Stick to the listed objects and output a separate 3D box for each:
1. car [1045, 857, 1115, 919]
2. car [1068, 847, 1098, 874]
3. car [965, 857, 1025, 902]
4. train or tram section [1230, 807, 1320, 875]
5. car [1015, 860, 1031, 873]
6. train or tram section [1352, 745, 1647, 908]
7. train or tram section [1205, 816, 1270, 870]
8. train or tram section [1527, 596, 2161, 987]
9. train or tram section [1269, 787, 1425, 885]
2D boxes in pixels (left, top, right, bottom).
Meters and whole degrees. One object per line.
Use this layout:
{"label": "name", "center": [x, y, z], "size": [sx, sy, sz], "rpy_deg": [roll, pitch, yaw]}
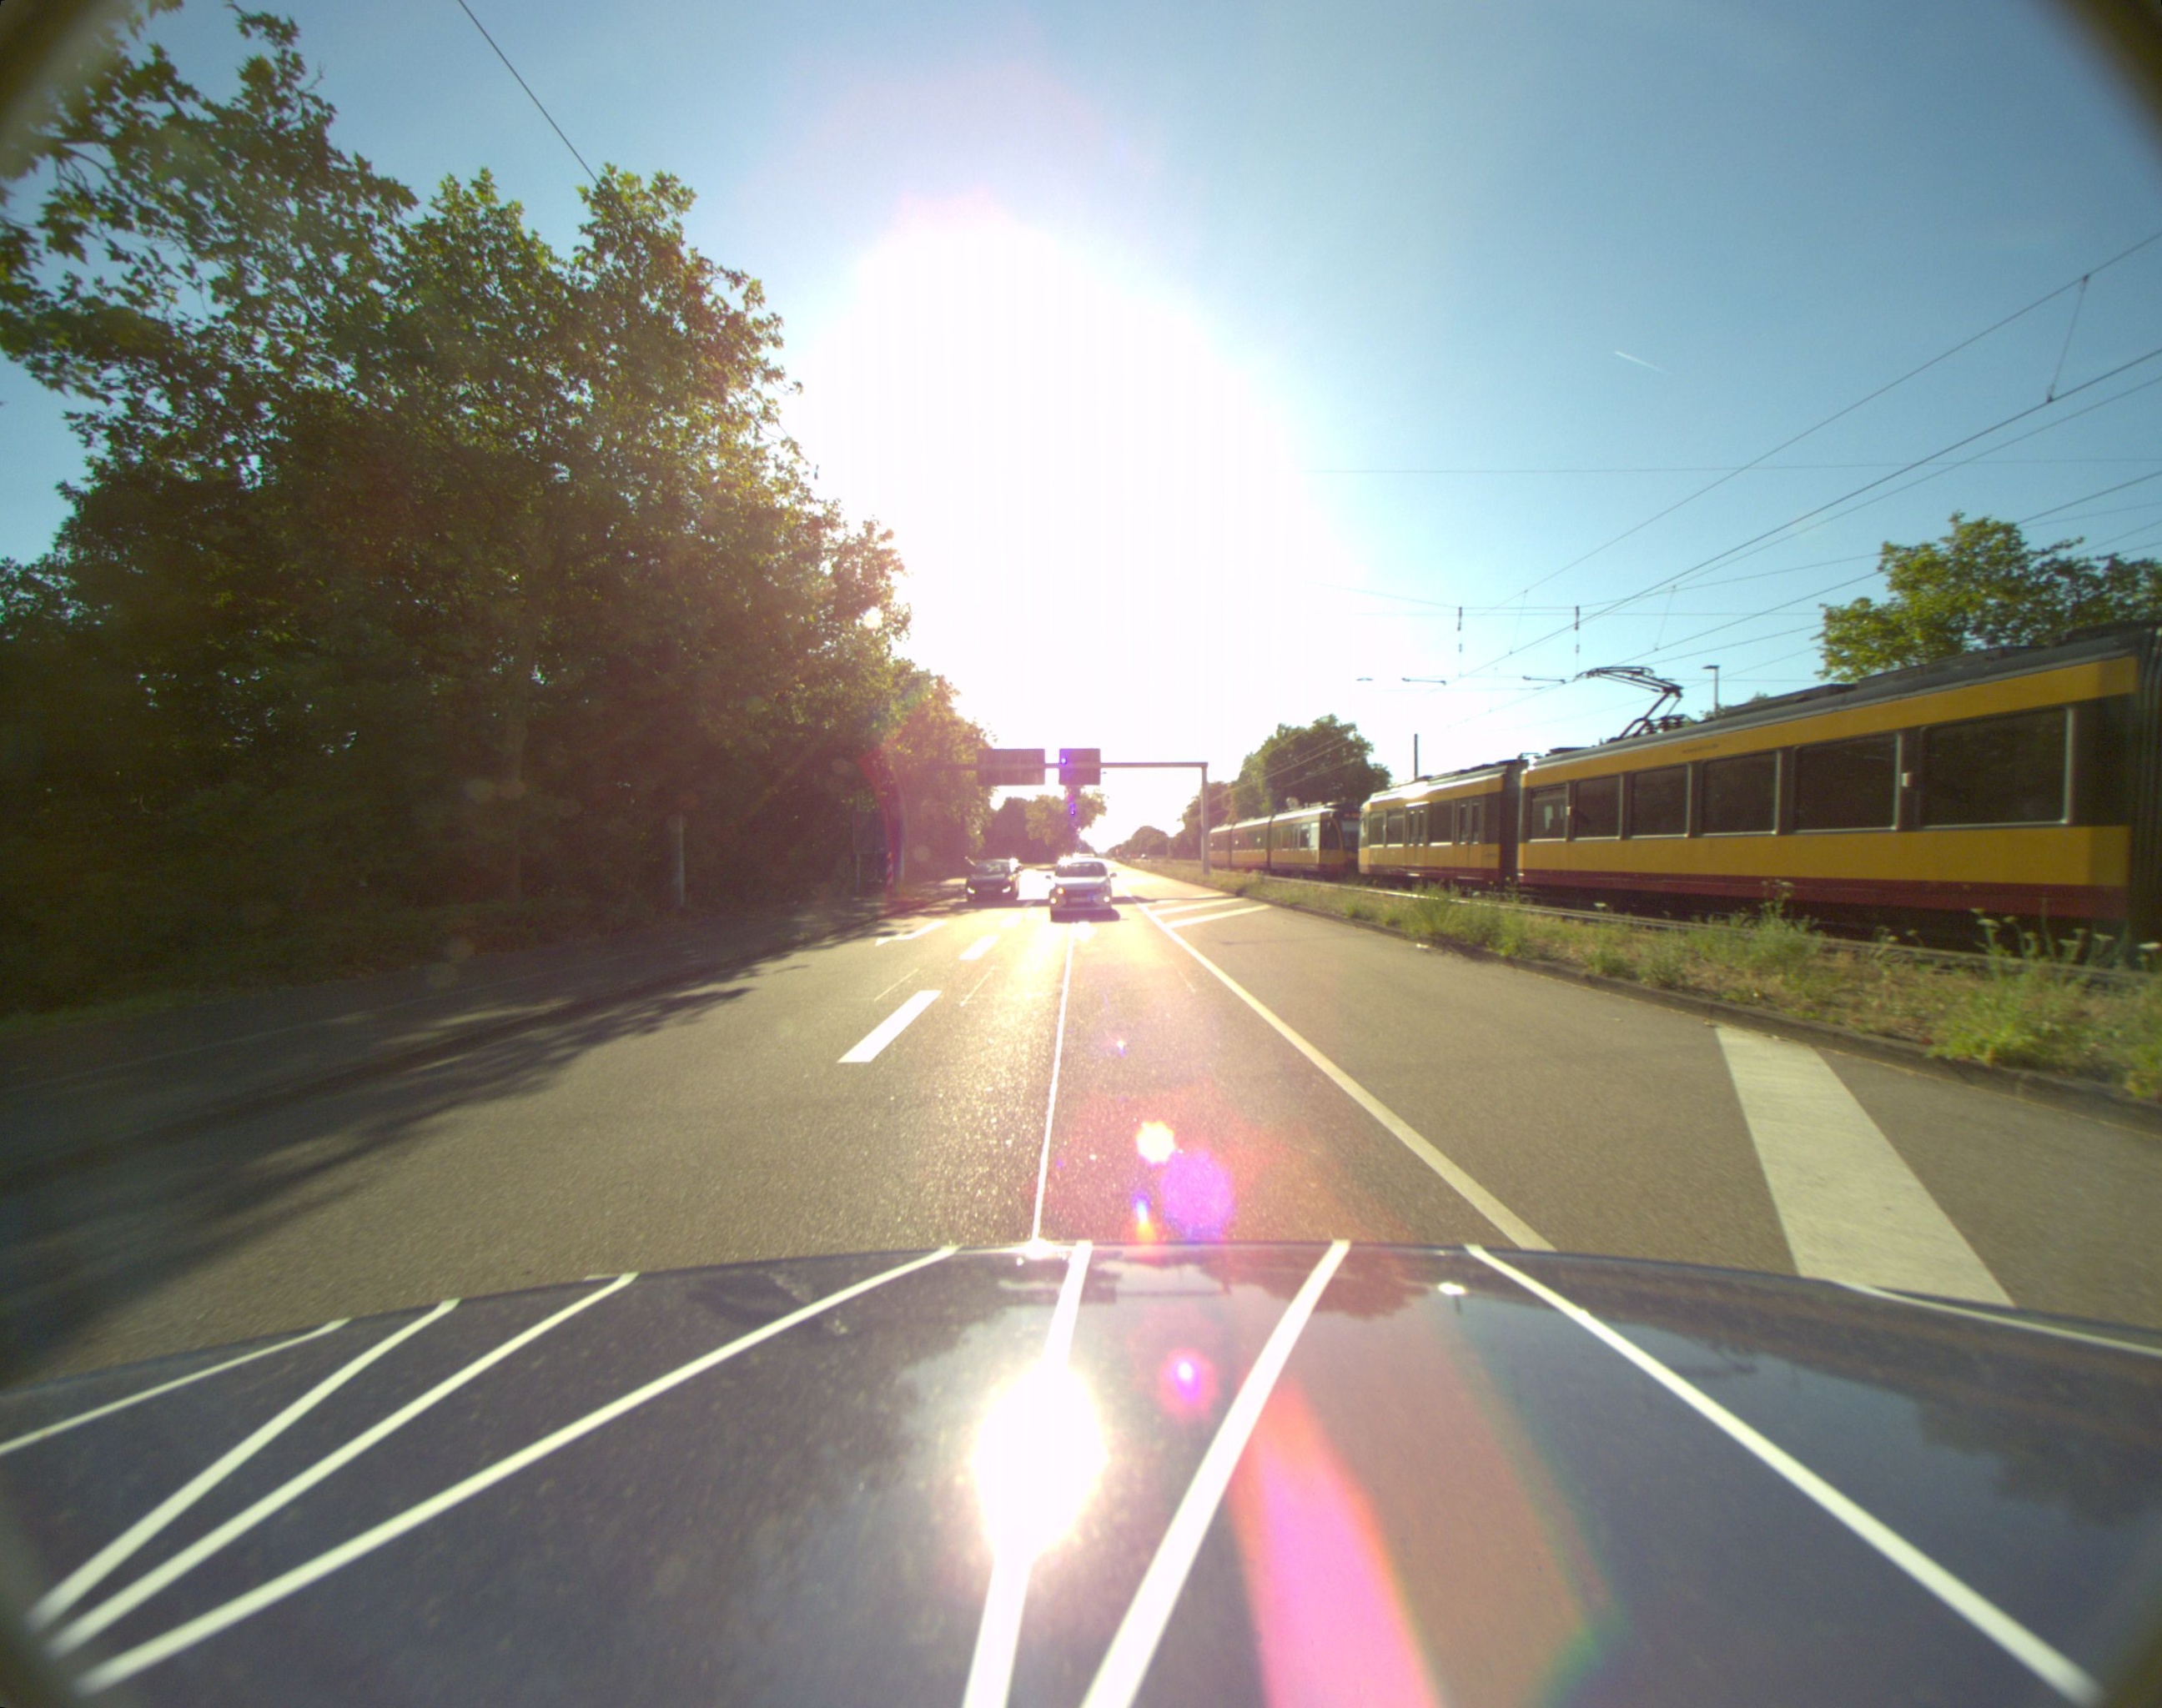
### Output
{"label": "car", "center": [0.058, 0.873, 20.870], "size": [1.670, 1.465, 3.745], "rpy_deg": [-1, 1, 3]}
{"label": "car", "center": [0.104, 0.389, 48.562], "size": [1.824, 1.608, 3.999], "rpy_deg": [-1, 0, -1]}
{"label": "car", "center": [-3.240, 0.926, 29.270], "size": [1.786, 1.530, 4.000], "rpy_deg": [-1, 0, 1]}
{"label": "train or tram section", "center": [12.499, -0.794, 50.323], "size": [2.891, 3.924, 11.911], "rpy_deg": [-1, 0, 0]}
{"label": "car", "center": [-6.970, 1.534, 91.737], "size": [1.744, 1.455, 3.999], "rpy_deg": [-1, 0, -1]}
{"label": "train or tram section", "center": [12.387, -0.696, 24.616], "size": [2.891, 3.924, 12.111], "rpy_deg": [-1, 0, 0]}
{"label": "train or tram section", "center": [12.548, -0.835, 62.125], "size": [2.891, 3.924, 11.665], "rpy_deg": [-1, 0, 0]}
{"label": "train or tram section", "center": [12.323, -0.661, 12.862], "size": [2.891, 3.924, 11.339], "rpy_deg": [-1, 0, 0]}
{"label": "train or tram section", "center": [12.441, -0.749, 37.521], "size": [2.891, 3.924, 13.659], "rpy_deg": [-1, 0, 0]}
